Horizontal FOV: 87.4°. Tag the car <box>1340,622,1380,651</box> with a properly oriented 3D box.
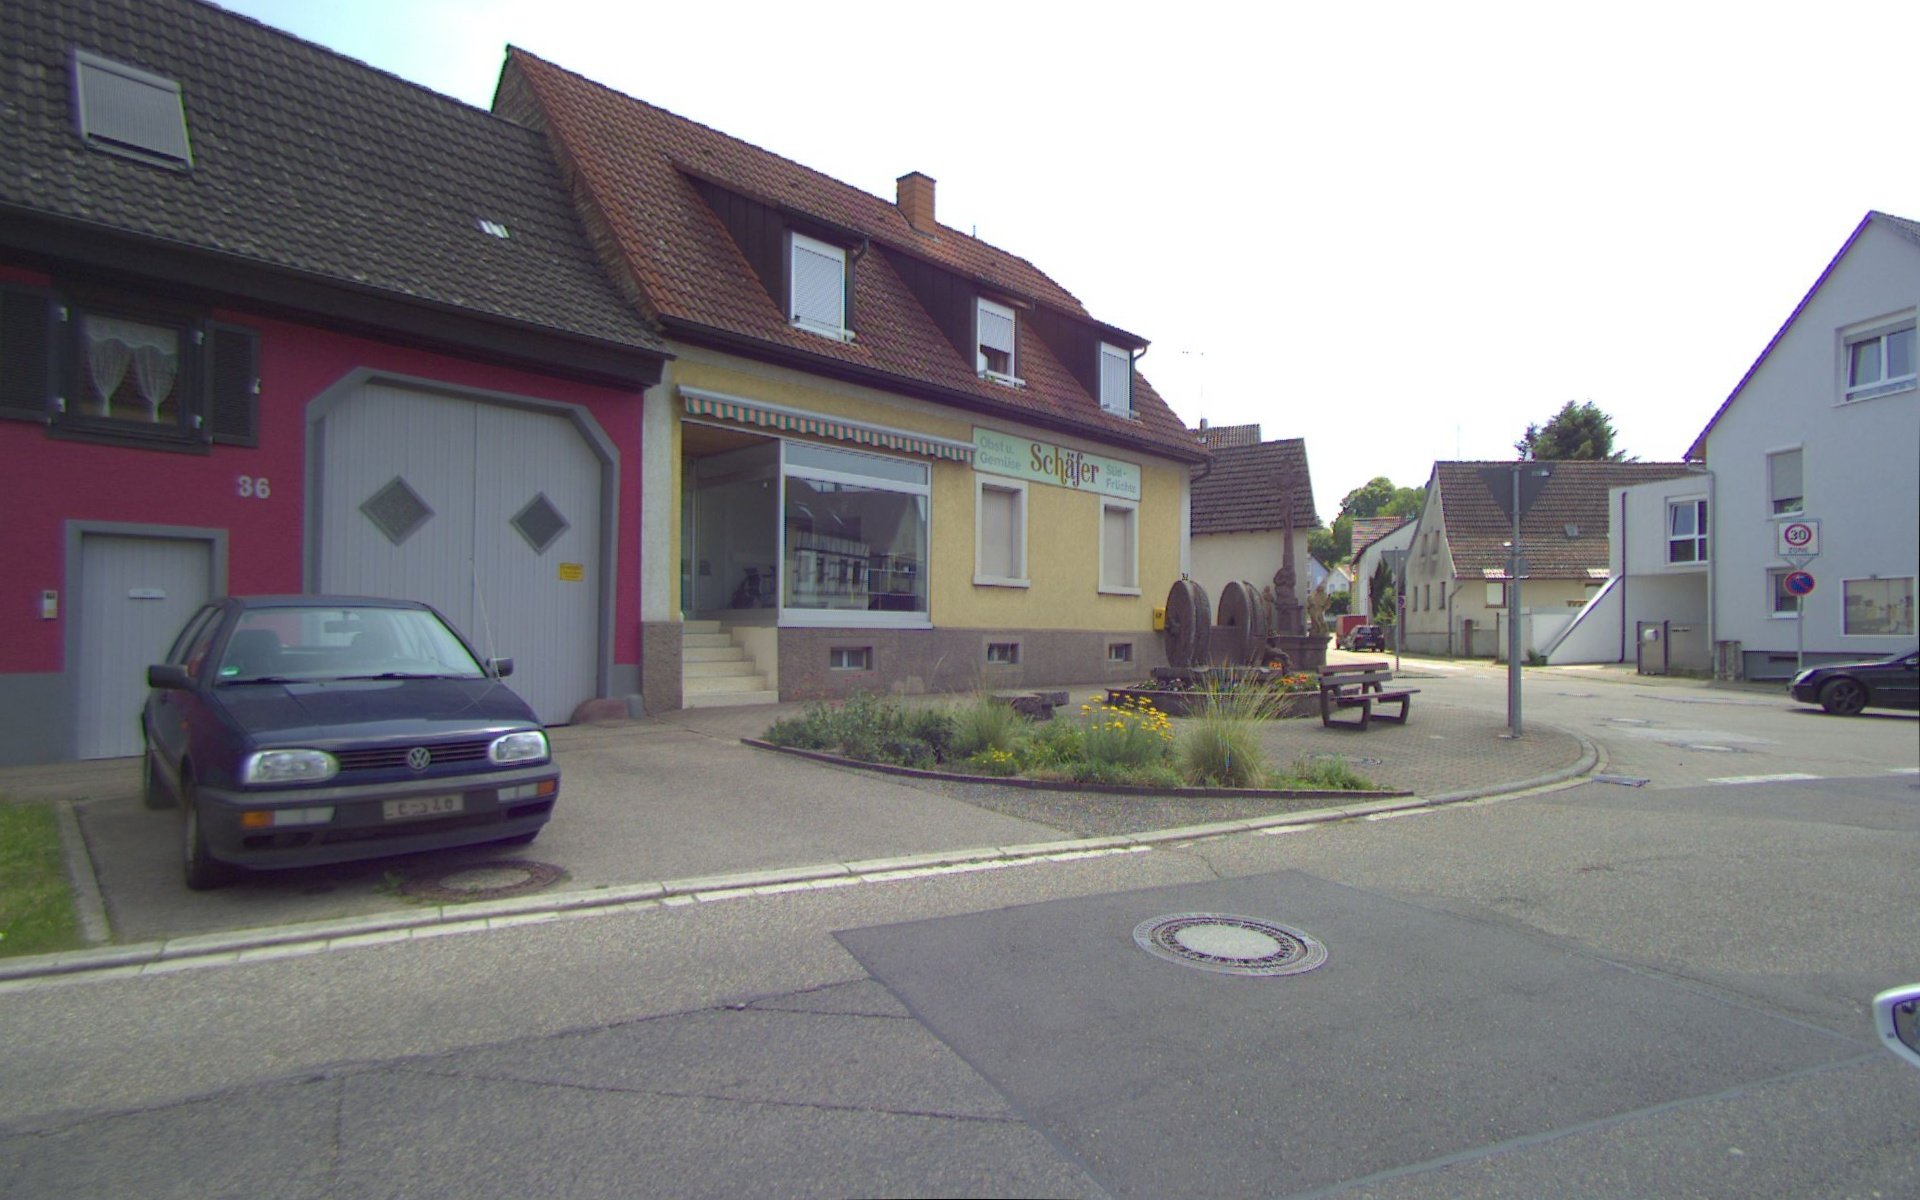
[{"bbox_3d":[22.606,2.051,56.860,1.461,1.550,3.479,2,-2,11],"label":"car"}]

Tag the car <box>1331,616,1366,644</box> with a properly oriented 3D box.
[{"bbox_3d":[24.076,1.878,62.327,1.369,1.656,3.479,2,-2,11],"label":"car"}]

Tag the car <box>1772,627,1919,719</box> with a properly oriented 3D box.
[{"bbox_3d":[16.487,1.264,16.681,4.571,1.430,1.804,1,-2,43],"label":"car"}]

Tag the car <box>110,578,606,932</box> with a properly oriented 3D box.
[{"bbox_3d":[-3.917,0.657,6.217,3.926,1.483,1.710,1,-1,45],"label":"car"}]
